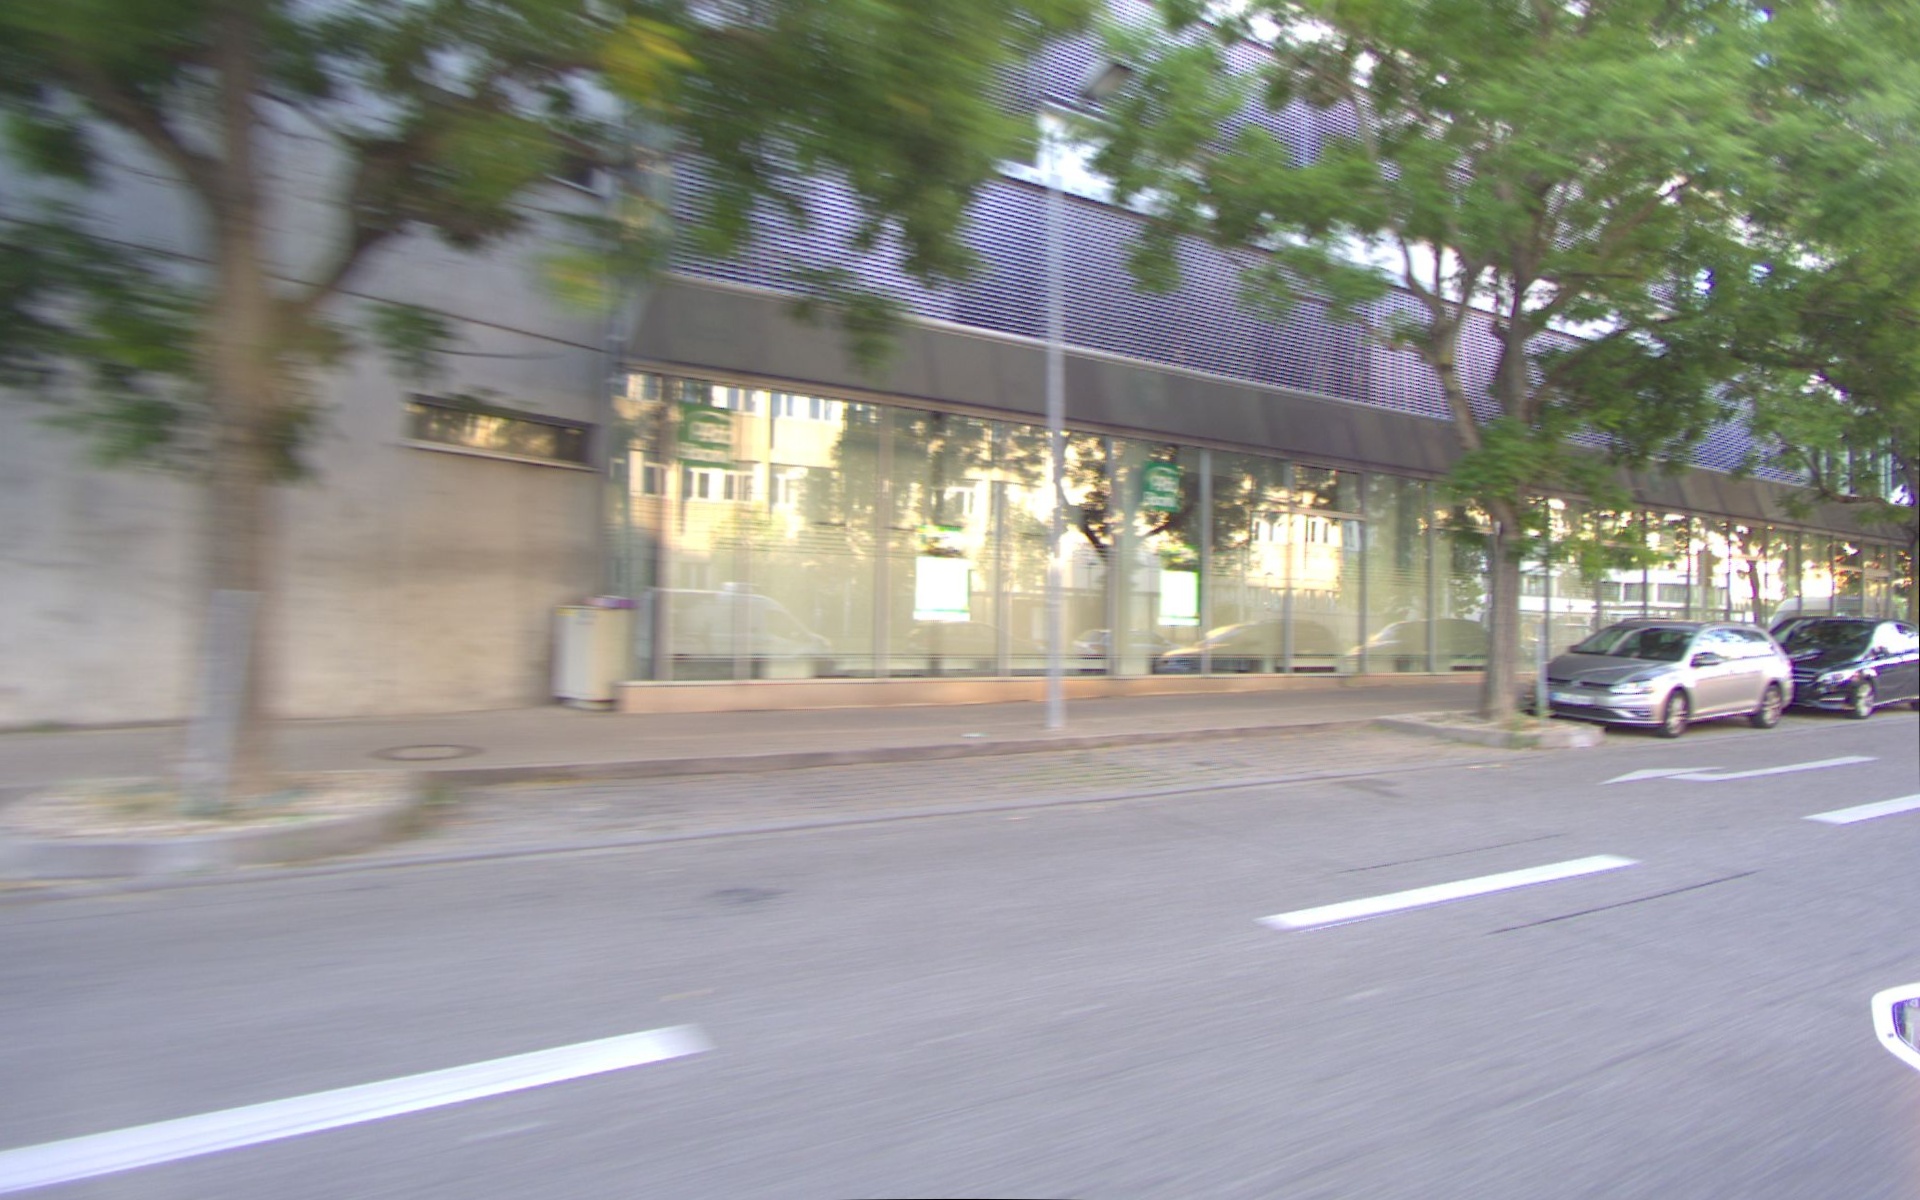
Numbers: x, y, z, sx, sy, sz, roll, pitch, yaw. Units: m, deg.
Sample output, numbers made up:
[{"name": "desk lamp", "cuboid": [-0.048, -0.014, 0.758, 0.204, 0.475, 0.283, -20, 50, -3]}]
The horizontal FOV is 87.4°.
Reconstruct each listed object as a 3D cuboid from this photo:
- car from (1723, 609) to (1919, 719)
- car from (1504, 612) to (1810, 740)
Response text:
[{"name": "car", "cuboid": [14.813, 1.006, 16.850, 4.418, 1.590, 1.582, 1, 2, -30]}, {"name": "car", "cuboid": [9.835, 0.979, 14.095, 4.571, 1.481, 1.695, 1, 2, -30]}]
